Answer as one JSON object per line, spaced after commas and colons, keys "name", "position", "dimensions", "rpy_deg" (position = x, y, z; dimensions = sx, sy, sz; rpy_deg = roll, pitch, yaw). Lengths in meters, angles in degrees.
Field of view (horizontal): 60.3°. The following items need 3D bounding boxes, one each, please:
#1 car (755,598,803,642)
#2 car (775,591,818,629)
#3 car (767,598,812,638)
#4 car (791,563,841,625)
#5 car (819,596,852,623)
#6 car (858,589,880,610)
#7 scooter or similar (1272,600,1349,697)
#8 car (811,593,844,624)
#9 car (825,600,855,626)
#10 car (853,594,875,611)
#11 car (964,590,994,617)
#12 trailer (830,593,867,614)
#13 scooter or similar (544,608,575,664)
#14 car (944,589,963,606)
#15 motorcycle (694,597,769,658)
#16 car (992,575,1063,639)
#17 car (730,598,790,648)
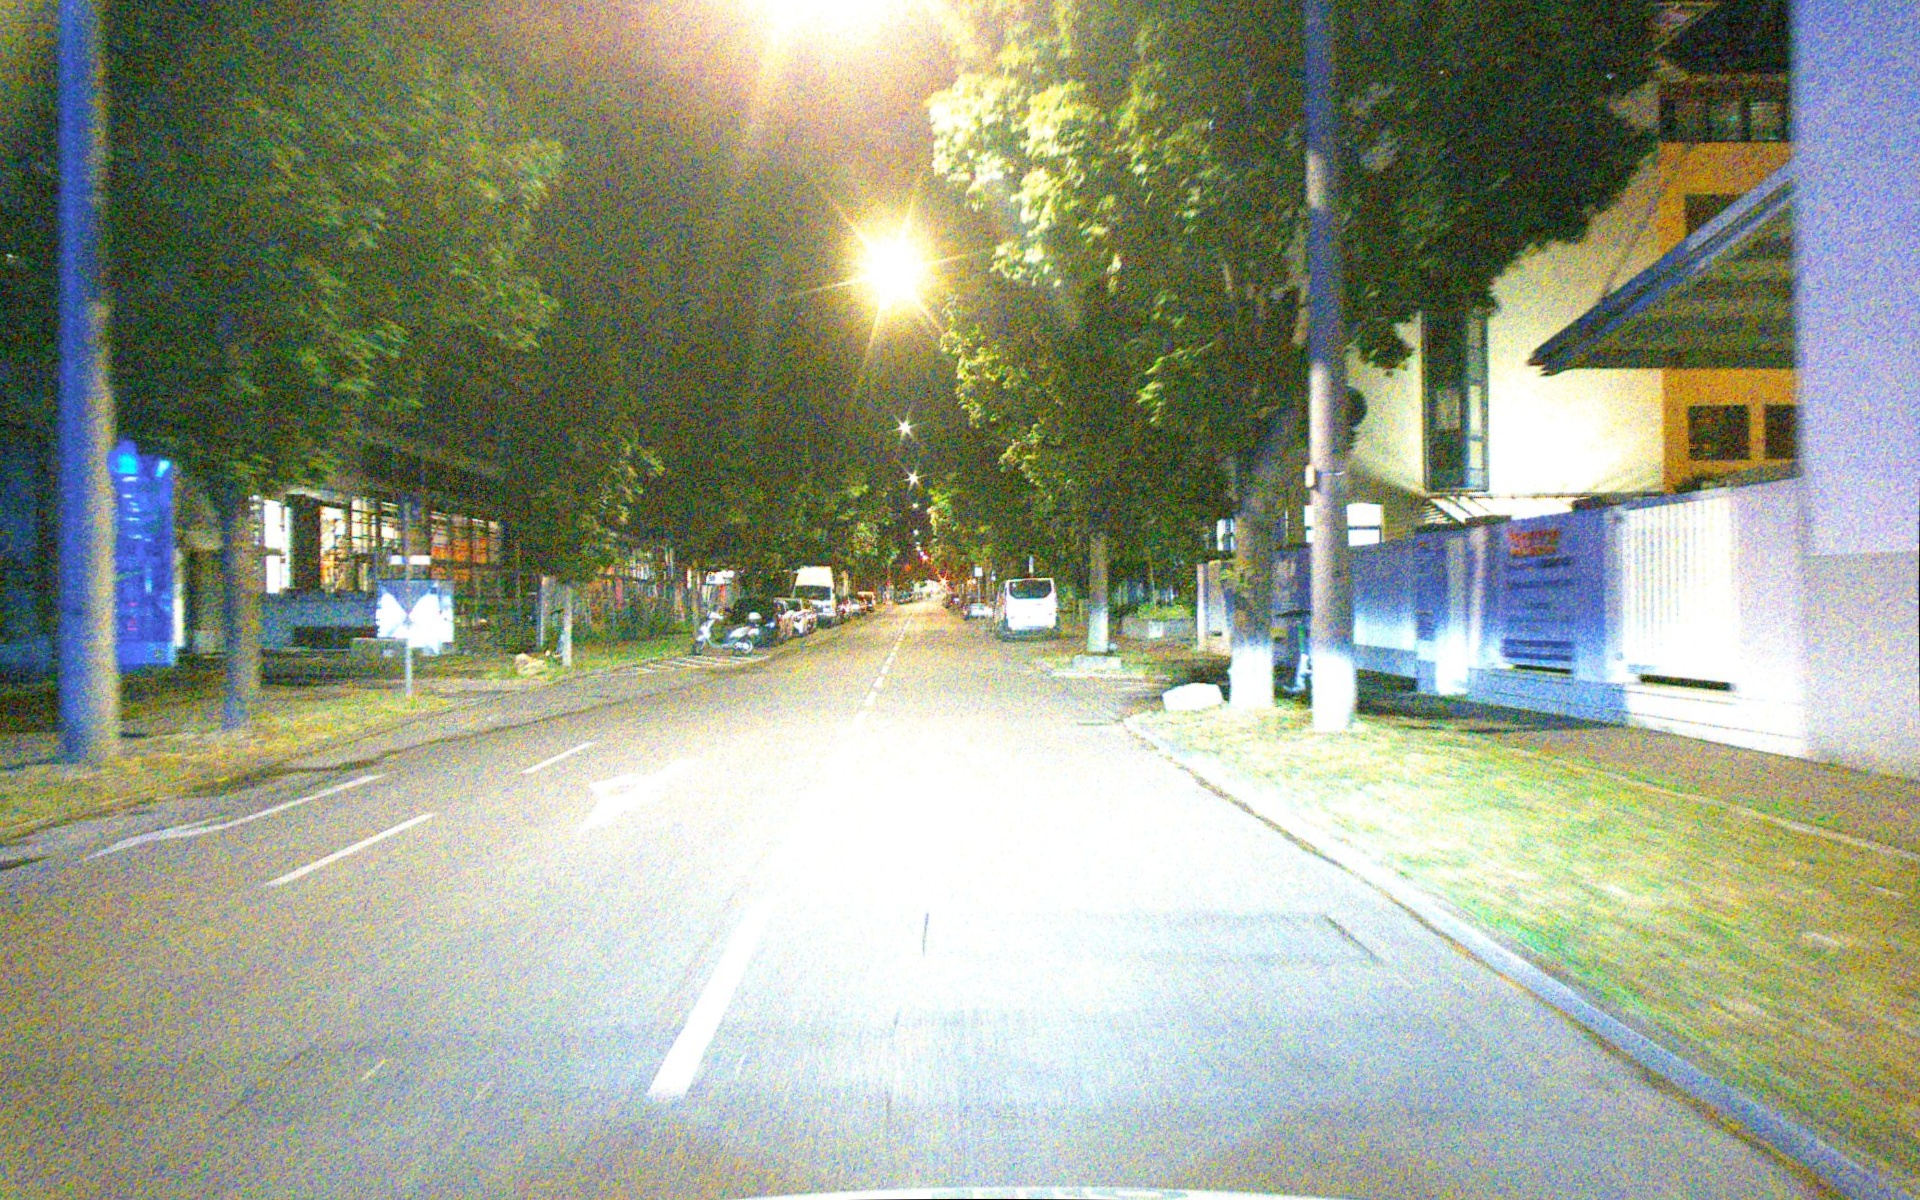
{"name": "car", "position": [-6.466, 0.695, 59.271], "dimensions": [1.415, 1.454, 3.902], "rpy_deg": [1, 0, -2]}
{"name": "car", "position": [-6.827, 0.391, 69.422], "dimensions": [1.612, 1.531, 3.859], "rpy_deg": [0, 0, -3]}
{"name": "car", "position": [-6.582, 0.660, 63.979], "dimensions": [1.516, 1.481, 3.367], "rpy_deg": [0, 0, -2]}
{"name": "car", "position": [-7.023, -0.309, 81.005], "dimensions": [2.135, 2.960, 4.908], "rpy_deg": [-1, 0, -2]}
{"name": "car", "position": [-7.335, 0.549, 97.740], "dimensions": [1.670, 1.436, 4.632], "rpy_deg": [-2, 1, -2]}
{"name": "car", "position": [-8.505, -0.038, 154.861], "dimensions": [1.785, 1.843, 4.210], "rpy_deg": [1, 1, 0]}
{"name": "scooter or similar", "position": [4.705, 0.635, 22.307], "dimensions": [0.536, 1.224, 1.910], "rpy_deg": [-3, -1, -1]}
{"name": "car", "position": [-7.335, 0.457, 91.948], "dimensions": [1.707, 1.634, 4.295], "rpy_deg": [-1, 0, -3]}
{"name": "car", "position": [-7.446, 0.776, 102.750], "dimensions": [1.682, 1.528, 4.204], "rpy_deg": [1, 0, -2]}
{"name": "car", "position": [-8.567, 0.184, 147.456], "dimensions": [1.665, 1.458, 3.828], "rpy_deg": [1, 1, 0]}
{"name": "car", "position": [1.139, 0.192, 97.561], "dimensions": [1.634, 1.453, 4.148], "rpy_deg": [-4, 0, 1]}
{"name": "trailer", "position": [-7.429, 0.192, 110.560], "dimensions": [2.067, 1.358, 5.435], "rpy_deg": [0, 0, 0]}
{"name": "scooter or similar", "position": [-9.206, 0.813, 38.060], "dimensions": [0.359, 1.225, 1.427], "rpy_deg": [-2, 0, -1]}
{"name": "car", "position": [-0.670, -0.305, 168.169], "dimensions": [1.815, 1.683, 4.208], "rpy_deg": [-1, 0, -1]}
{"name": "motorcycle", "position": [-6.050, 0.719, 43.766], "dimensions": [1.874, 1.577, 0.635], "rpy_deg": [0, 0, -21]}
{"name": "car", "position": [2.213, 0.213, 55.240], "dimensions": [1.912, 1.998, 4.601], "rpy_deg": [-1, 1, -3]}
{"name": "car", "position": [-6.391, 0.704, 53.174], "dimensions": [1.609, 1.531, 3.902], "rpy_deg": [0, 0, -2]}
